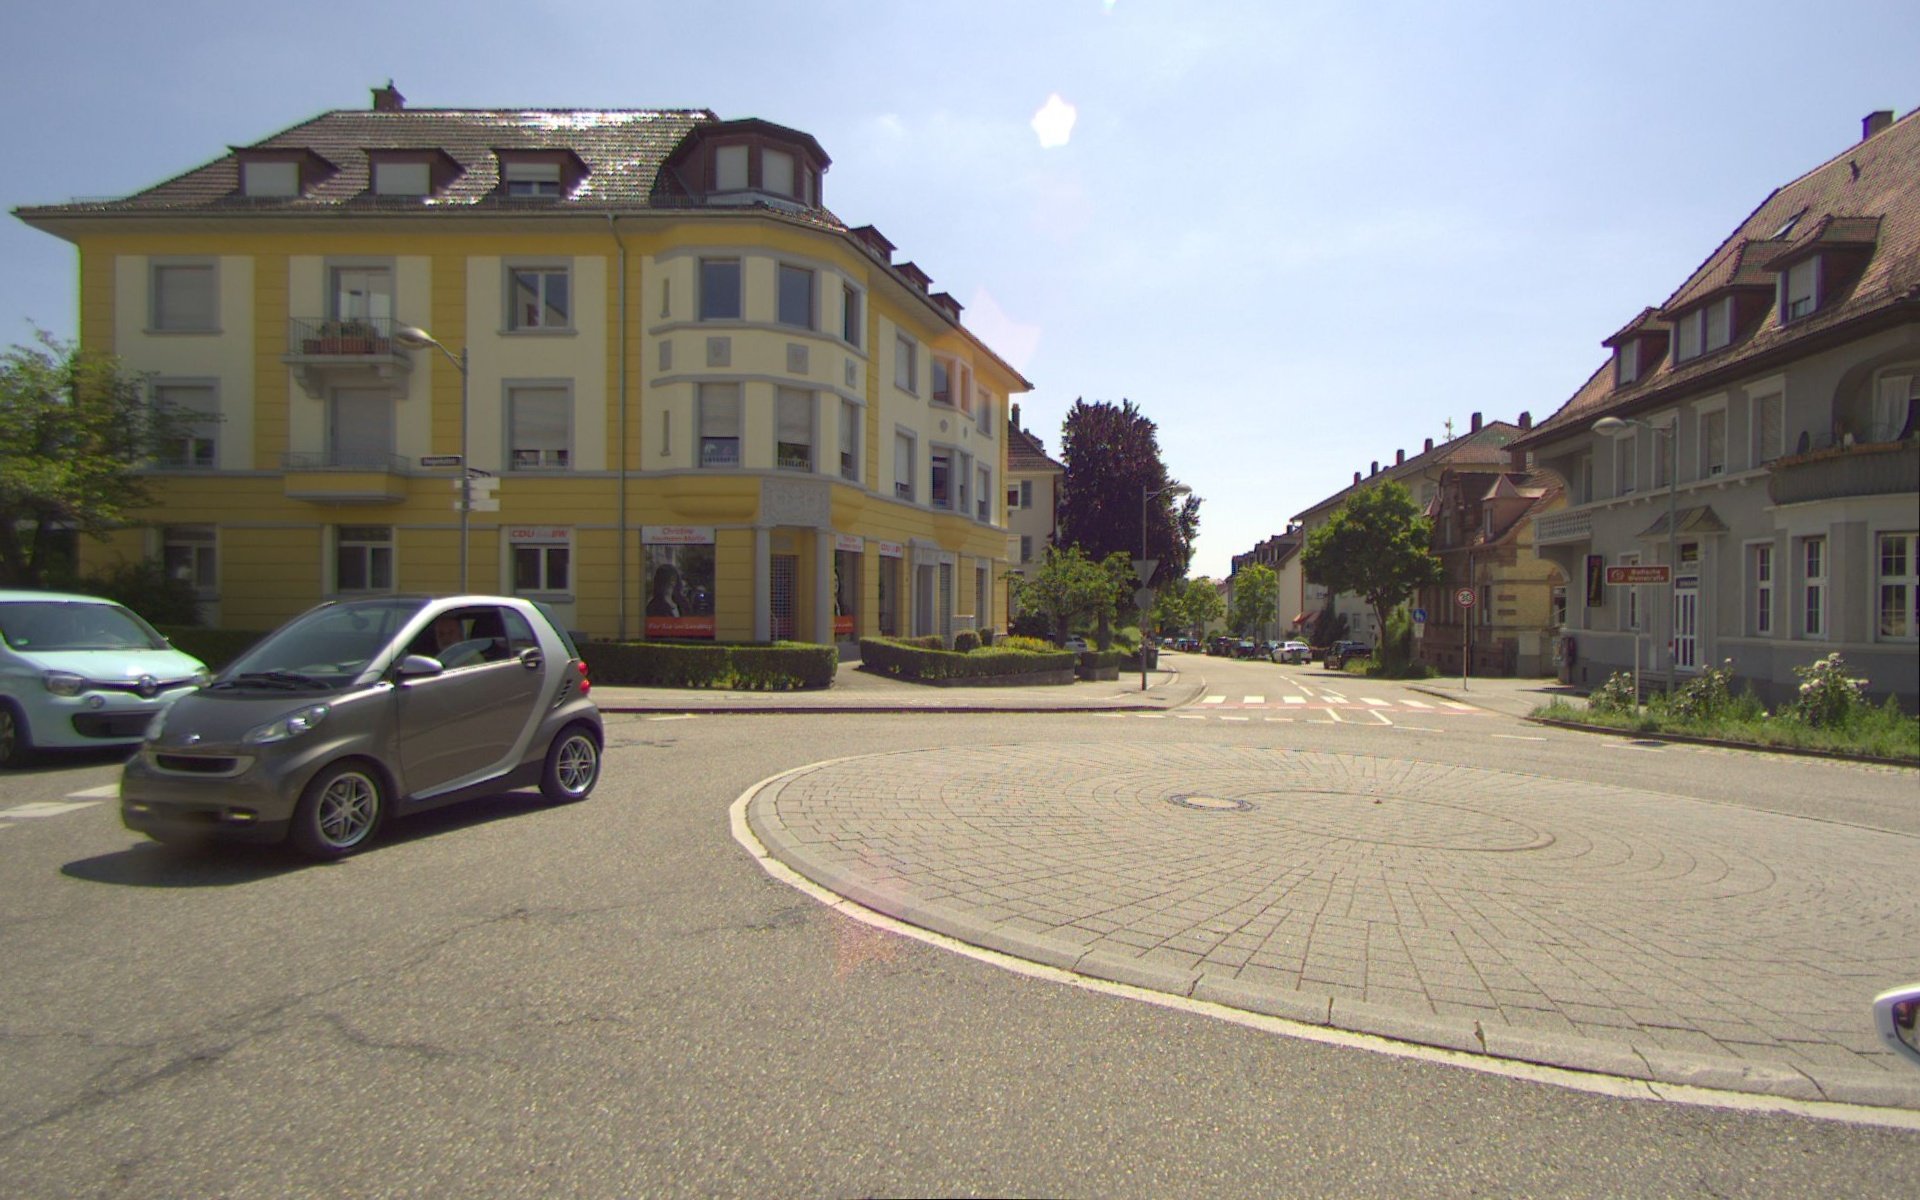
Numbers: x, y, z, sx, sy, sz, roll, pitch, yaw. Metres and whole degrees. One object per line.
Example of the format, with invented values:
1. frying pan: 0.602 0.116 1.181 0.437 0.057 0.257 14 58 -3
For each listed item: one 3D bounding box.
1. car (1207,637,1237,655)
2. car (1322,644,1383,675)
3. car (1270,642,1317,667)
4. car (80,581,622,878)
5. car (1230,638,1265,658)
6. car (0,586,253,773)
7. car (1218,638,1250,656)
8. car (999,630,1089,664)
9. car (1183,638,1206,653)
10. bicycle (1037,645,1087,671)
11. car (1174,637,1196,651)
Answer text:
1. car: 24.732 4.319 94.785 1.960 1.529 4.422 2 -2 5
2. car: 21.770 3.262 55.927 1.960 1.529 4.422 2 -2 5
3. car: 22.572 3.640 68.160 1.960 1.529 4.422 2 -2 5
4. car: -3.879 0.713 6.844 1.540 1.550 2.788 0 -1 22
5. car: 23.794 3.966 83.194 1.960 1.529 4.422 2 -2 5
6. car: -9.370 0.657 10.045 4.080 1.545 1.660 2 0 19
7. car: 24.325 4.153 89.287 1.960 1.529 4.422 2 -2 5
8. car: 4.196 2.373 50.595 4.332 1.529 2.000 2 -2 -1
9. car: 26.833 5.218 115.063 1.960 1.529 4.422 2 -2 5
10. bicycle: 4.865 2.760 48.052 2.341 1.153 0.669 2 -1 2
11. car: 27.030 5.297 120.982 1.960 1.529 4.422 2 -2 5
